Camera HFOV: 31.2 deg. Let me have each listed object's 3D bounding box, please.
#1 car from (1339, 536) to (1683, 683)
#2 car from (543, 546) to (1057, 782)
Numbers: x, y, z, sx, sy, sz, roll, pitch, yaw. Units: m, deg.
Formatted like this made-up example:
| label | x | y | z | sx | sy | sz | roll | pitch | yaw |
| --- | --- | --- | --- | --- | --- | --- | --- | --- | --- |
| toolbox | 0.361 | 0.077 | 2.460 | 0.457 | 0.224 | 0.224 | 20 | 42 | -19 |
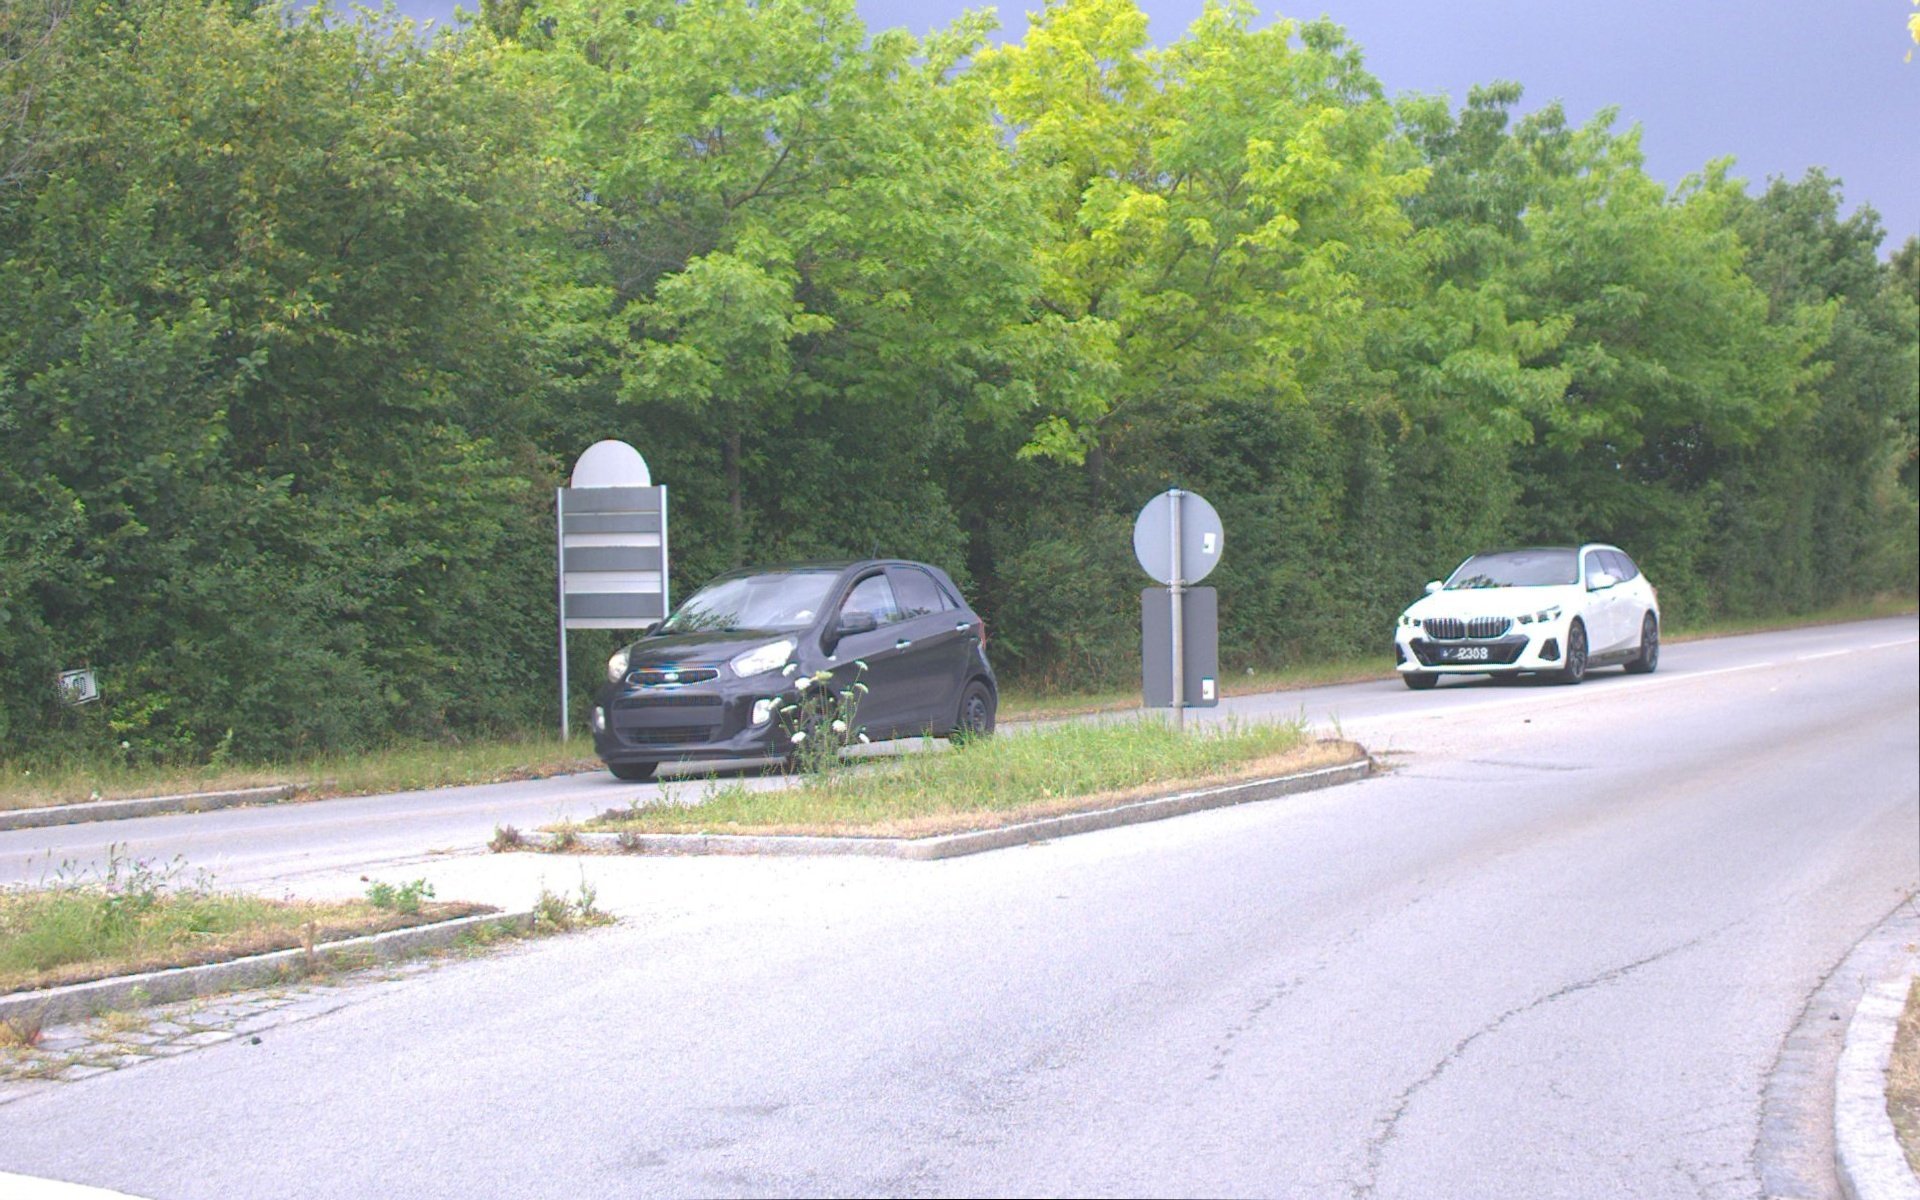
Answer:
| label | x | y | z | sx | sy | sz | roll | pitch | yaw |
| --- | --- | --- | --- | --- | --- | --- | --- | --- | --- |
| car | 6.154 | 0.064 | 37.891 | 2.216 | 1.449 | 4.935 | -1 | 1 | 28 |
| car | -1.040 | 0.379 | 24.313 | 1.685 | 1.449 | 3.993 | 2 | 2 | 31 |
